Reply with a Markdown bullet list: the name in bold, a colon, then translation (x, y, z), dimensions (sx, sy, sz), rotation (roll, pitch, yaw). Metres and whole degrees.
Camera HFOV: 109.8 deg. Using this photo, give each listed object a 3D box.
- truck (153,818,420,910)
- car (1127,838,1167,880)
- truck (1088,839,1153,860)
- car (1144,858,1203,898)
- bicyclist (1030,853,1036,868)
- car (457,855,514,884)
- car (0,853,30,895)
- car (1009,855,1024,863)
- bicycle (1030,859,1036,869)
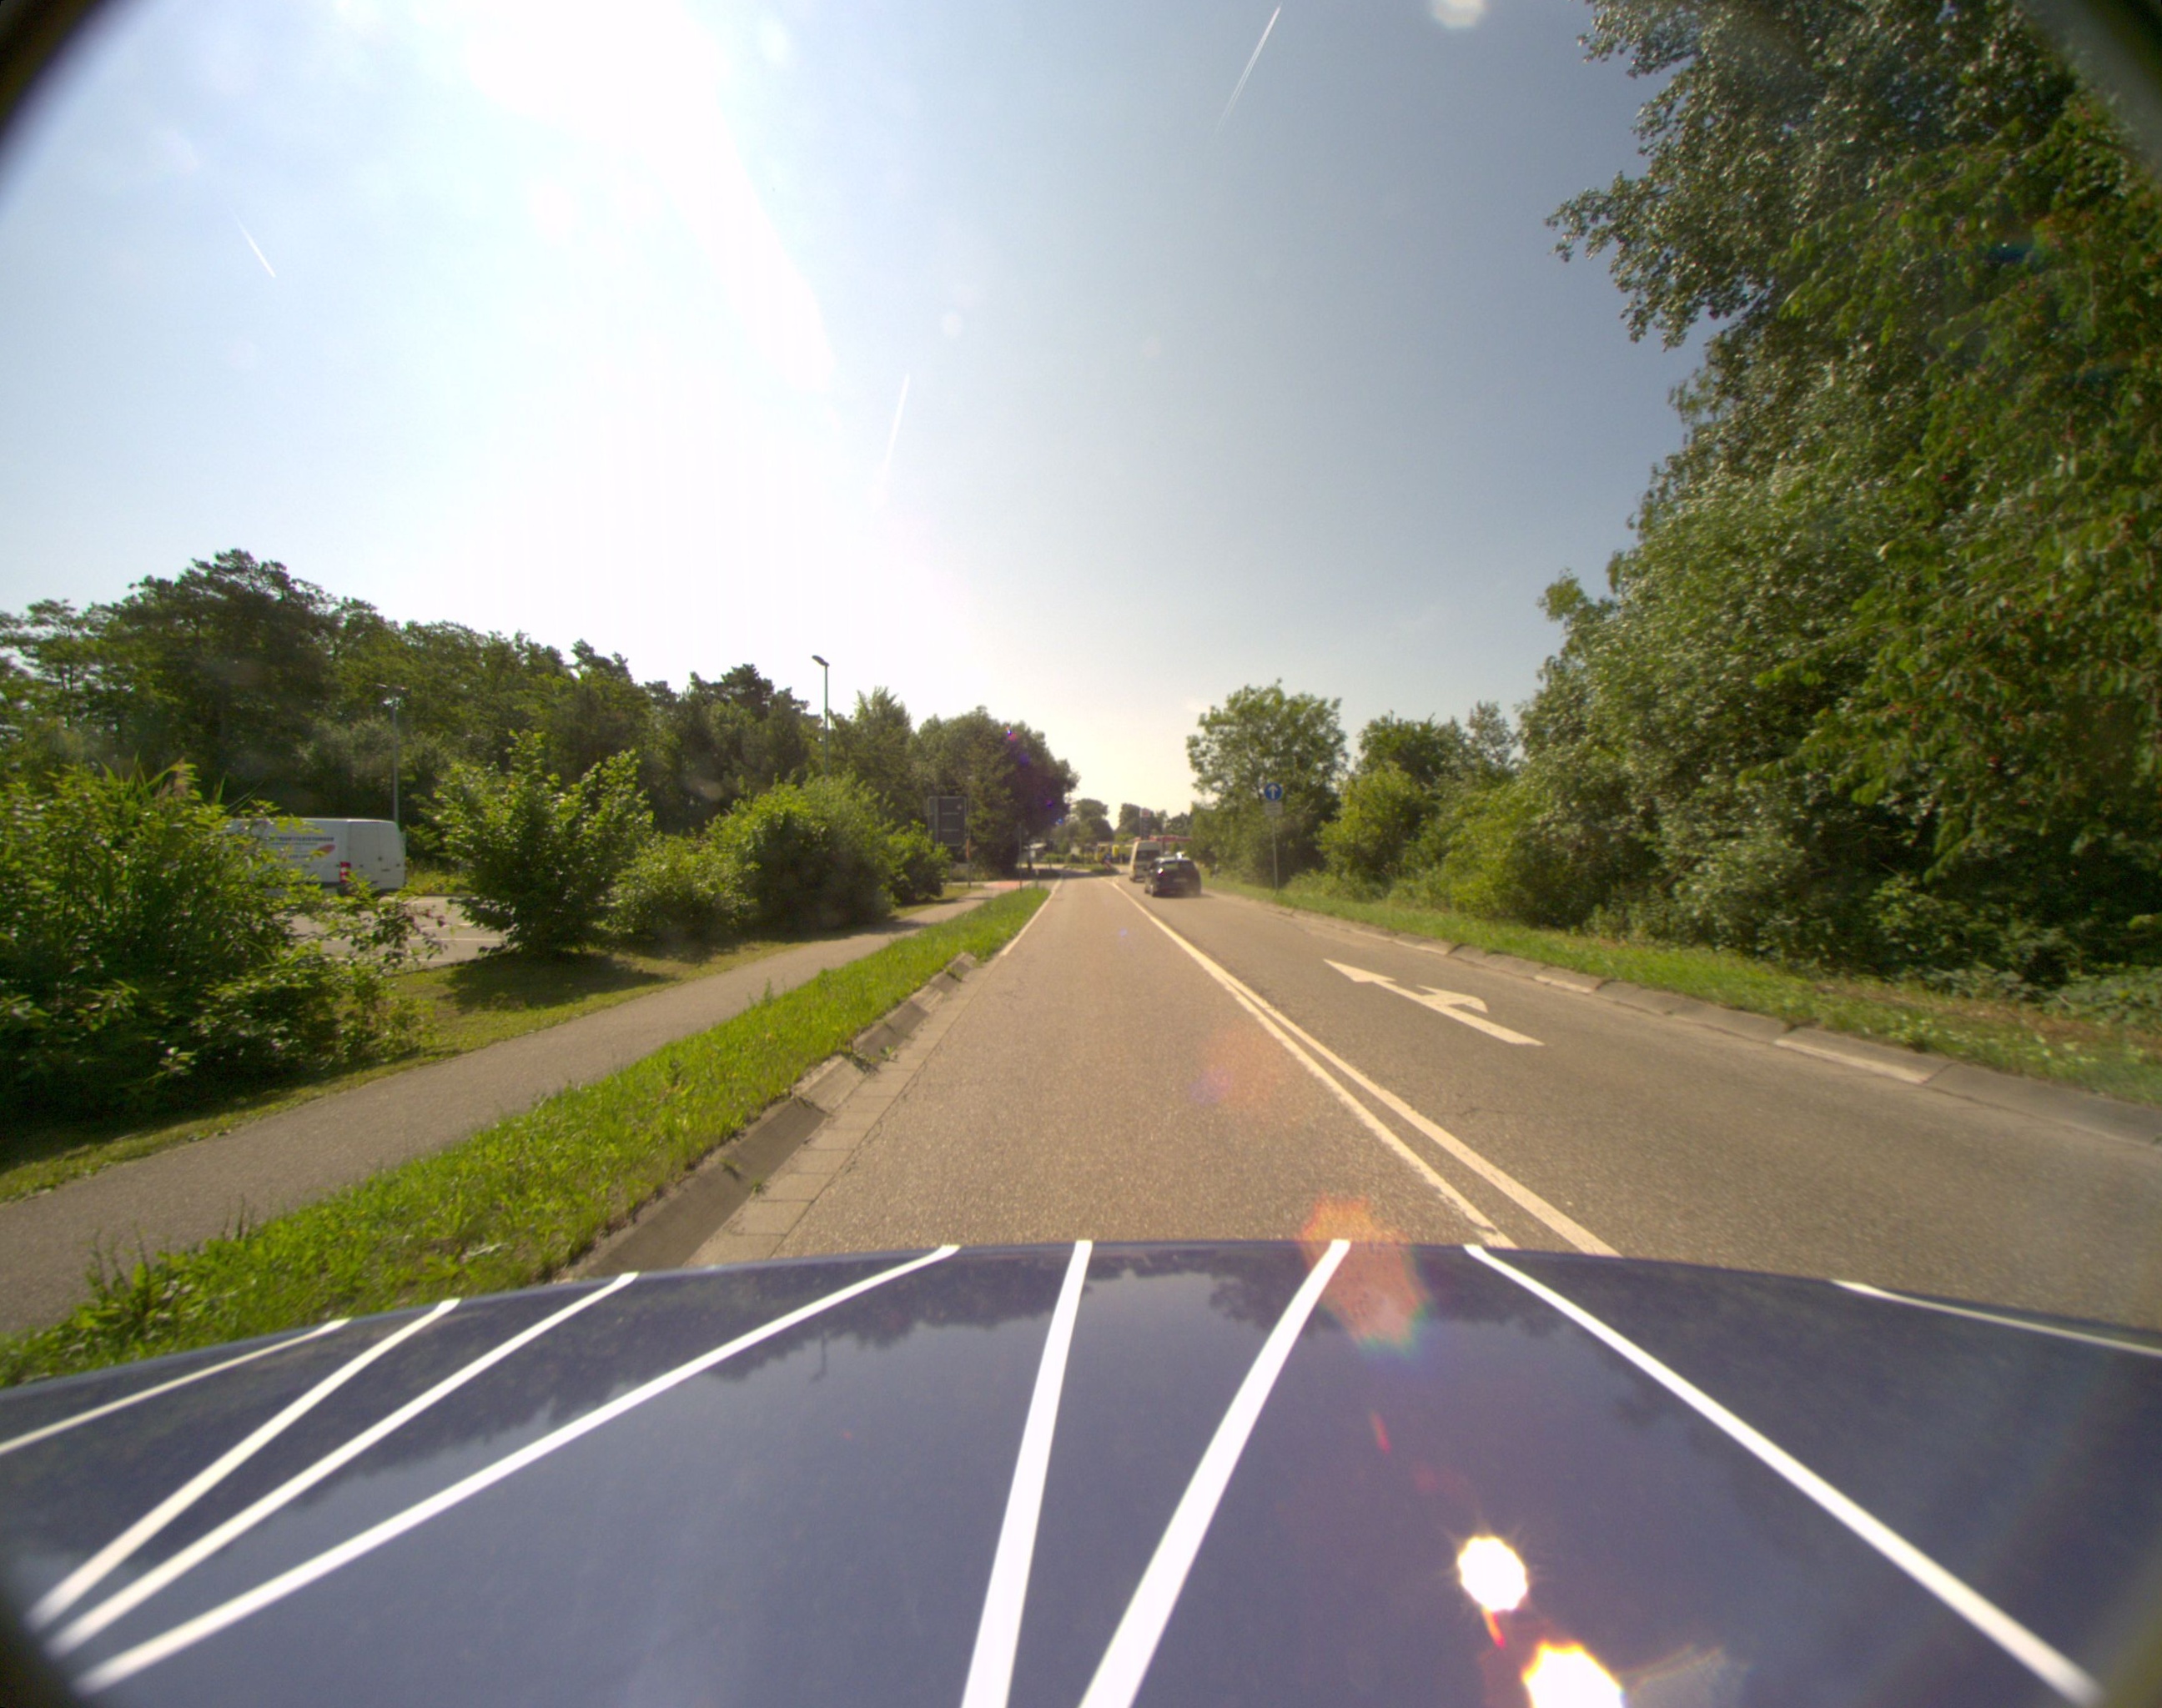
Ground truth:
- **truck**: translation (-23.528, 0.277, 22.682), dimensions (5.613, 2.590, 2.203), rotation (0, 1, 0)
- **car**: translation (3.907, 0.284, 45.648), dimensions (1.917, 2.386, 4.909), rotation (0, 0, 0)
- **truck**: translation (6.417, -0.694, 125.270), dimensions (10.334, 3.374, 3.884), rotation (0, 0, -2)
- **car**: translation (3.444, 0.872, 29.038), dimensions (1.703, 1.381, 4.293), rotation (0, 0, 0)
- **bicyclist**: translation (-5.704, 0.806, 90.693), dimensions (0.638, 1.720, 0.978), rotation (-2, 1, 2)
- **car**: translation (-32.771, 0.804, 41.877), dimensions (1.762, 1.522, 3.656), rotation (0, 0, -26)
- **car**: translation (-37.649, 0.699, 24.935), dimensions (2.003, 1.457, 4.484), rotation (0, 0, -29)
- **car**: translation (-12.774, 0.999, 149.756), dimensions (1.831, 1.630, 3.830), rotation (0, 0, -22)
- **bicycle**: translation (-5.717, 1.148, 90.638), dimensions (0.591, 1.117, 1.520), rotation (-2, 0, 2)
